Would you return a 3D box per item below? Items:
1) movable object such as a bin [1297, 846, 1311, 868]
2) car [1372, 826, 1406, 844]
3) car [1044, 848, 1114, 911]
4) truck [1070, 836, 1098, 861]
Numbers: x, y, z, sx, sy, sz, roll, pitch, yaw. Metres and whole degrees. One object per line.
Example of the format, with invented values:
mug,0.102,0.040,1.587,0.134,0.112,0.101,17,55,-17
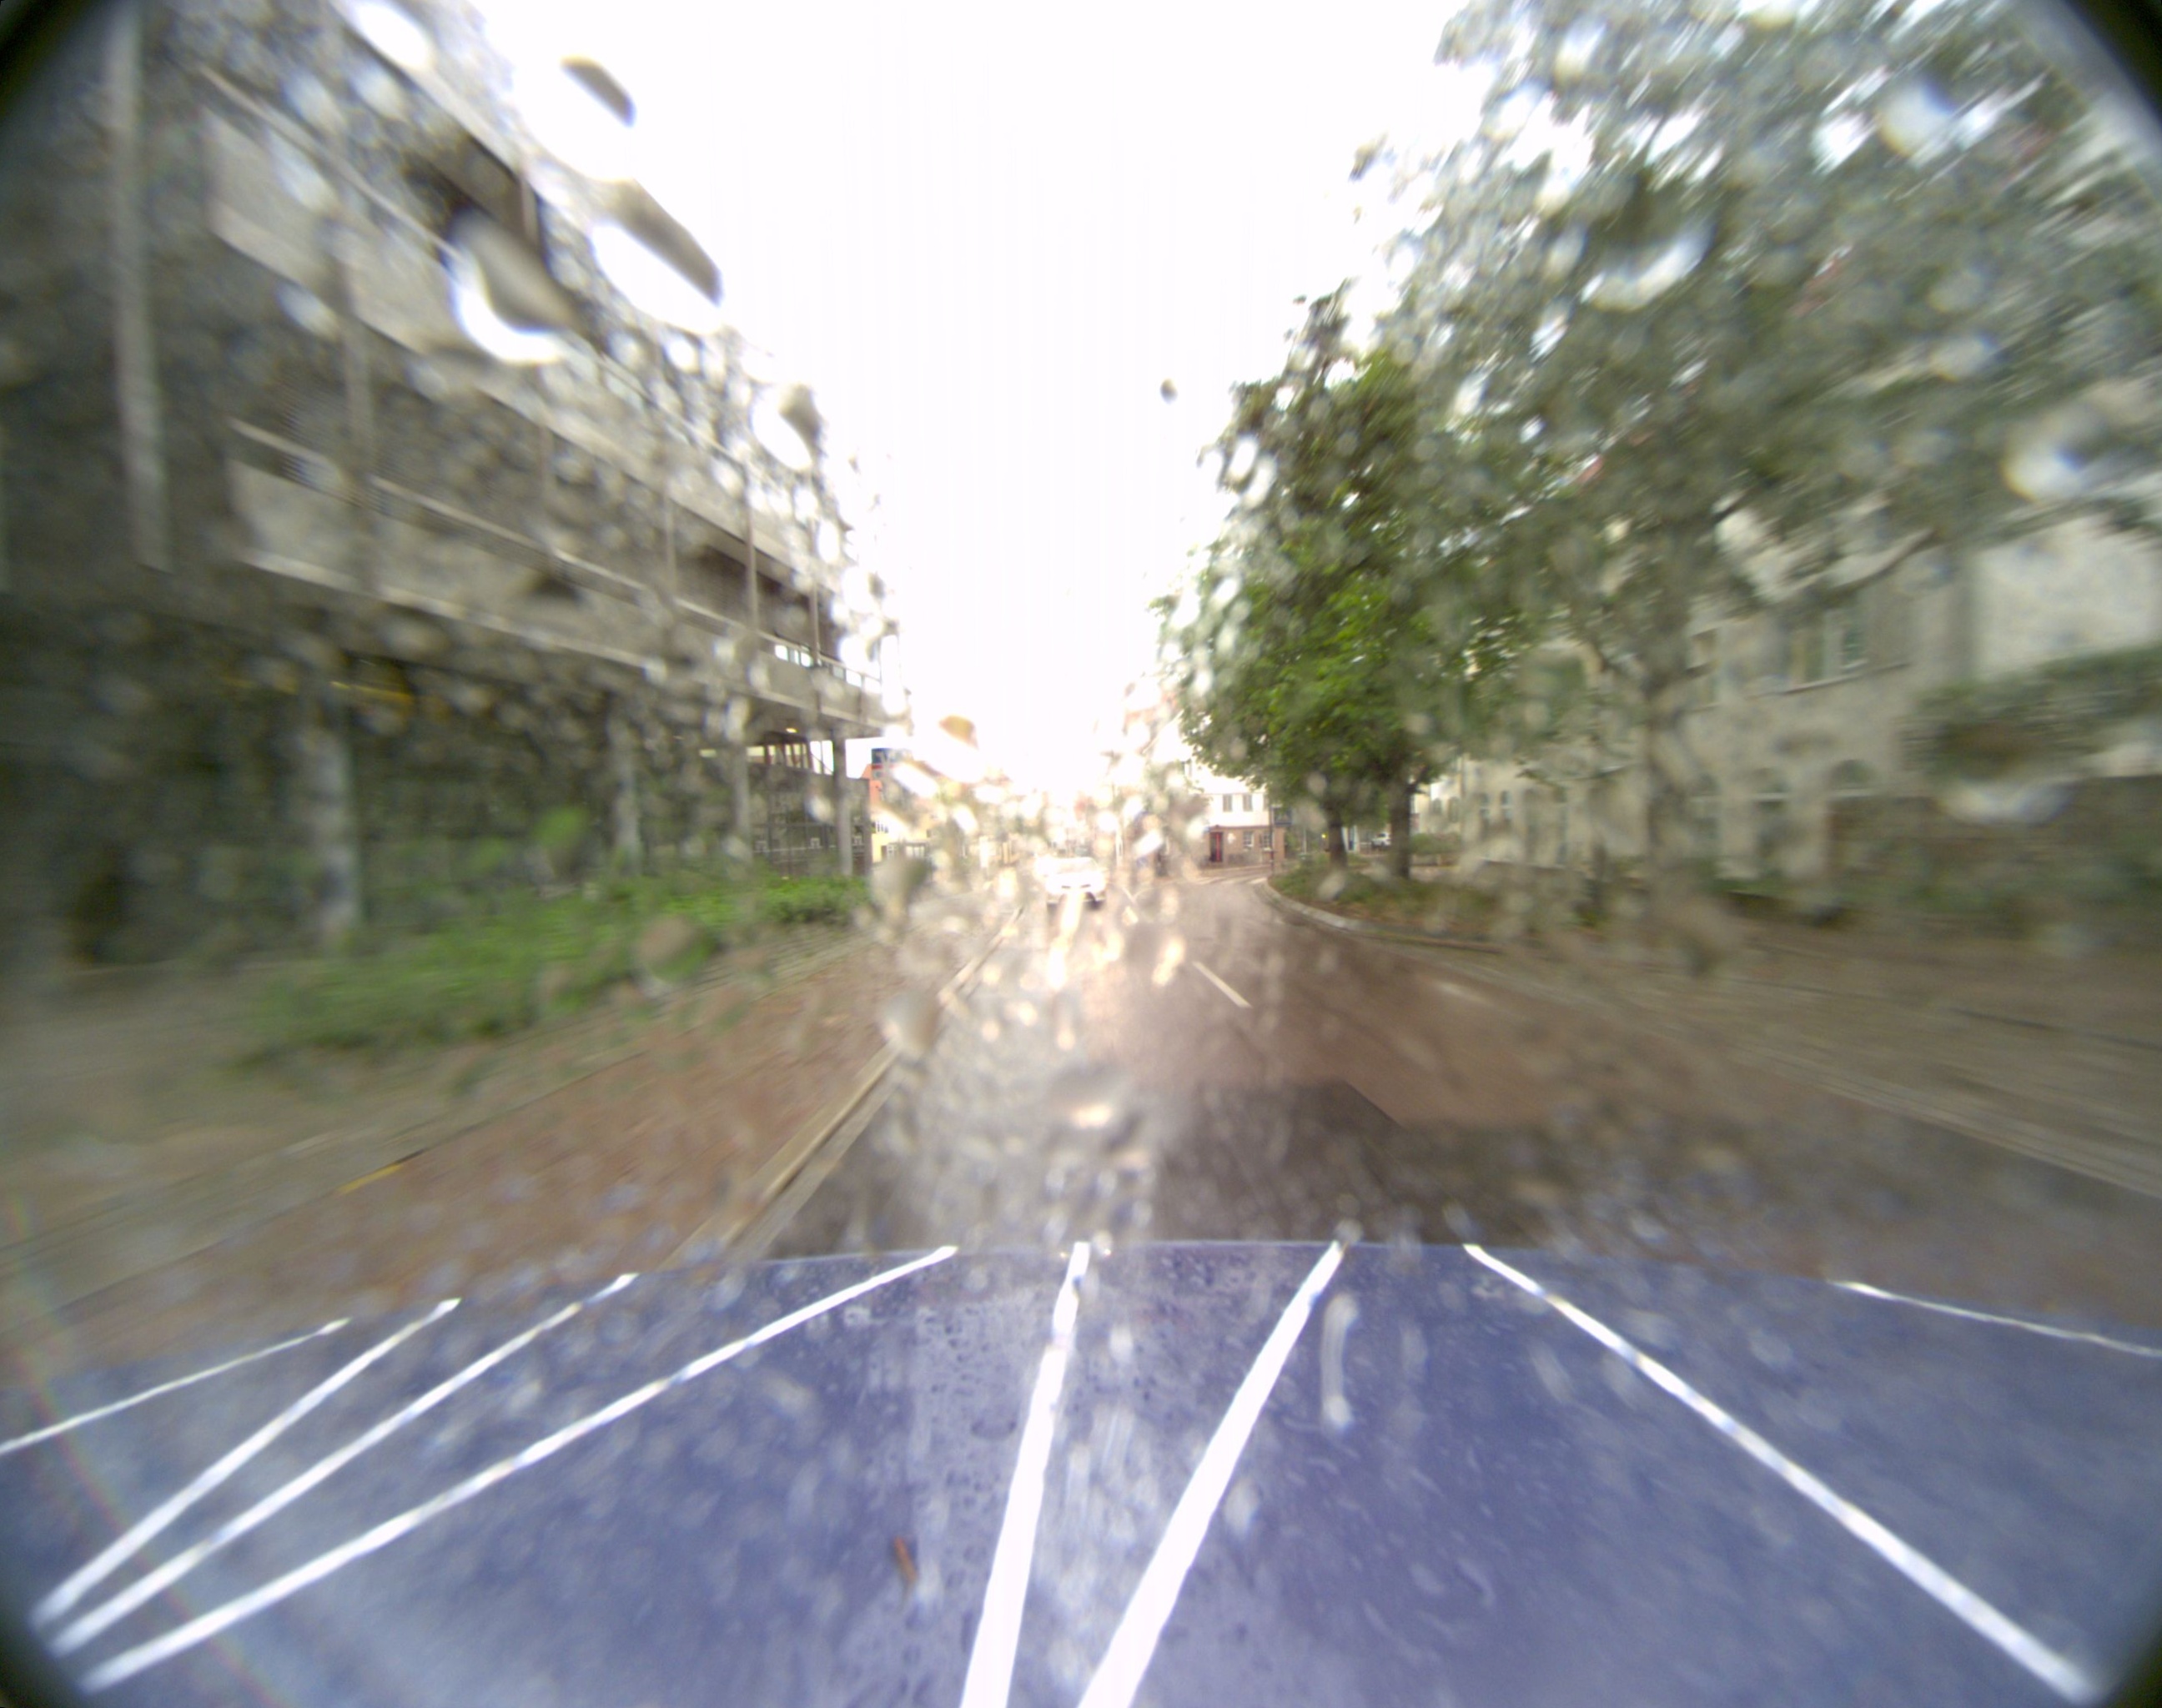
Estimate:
movable object such as a bin,10.862,0.128,36.984,0.634,1.053,0.699,0,2,21
car,28.390,-1.802,70.186,1.829,1.612,3.889,-1,2,4
car,-0.116,0.683,23.285,1.868,1.578,4.612,-2,2,-2
truck,0.275,-0.575,85.933,2.407,2.579,6.480,-2,-1,-6
